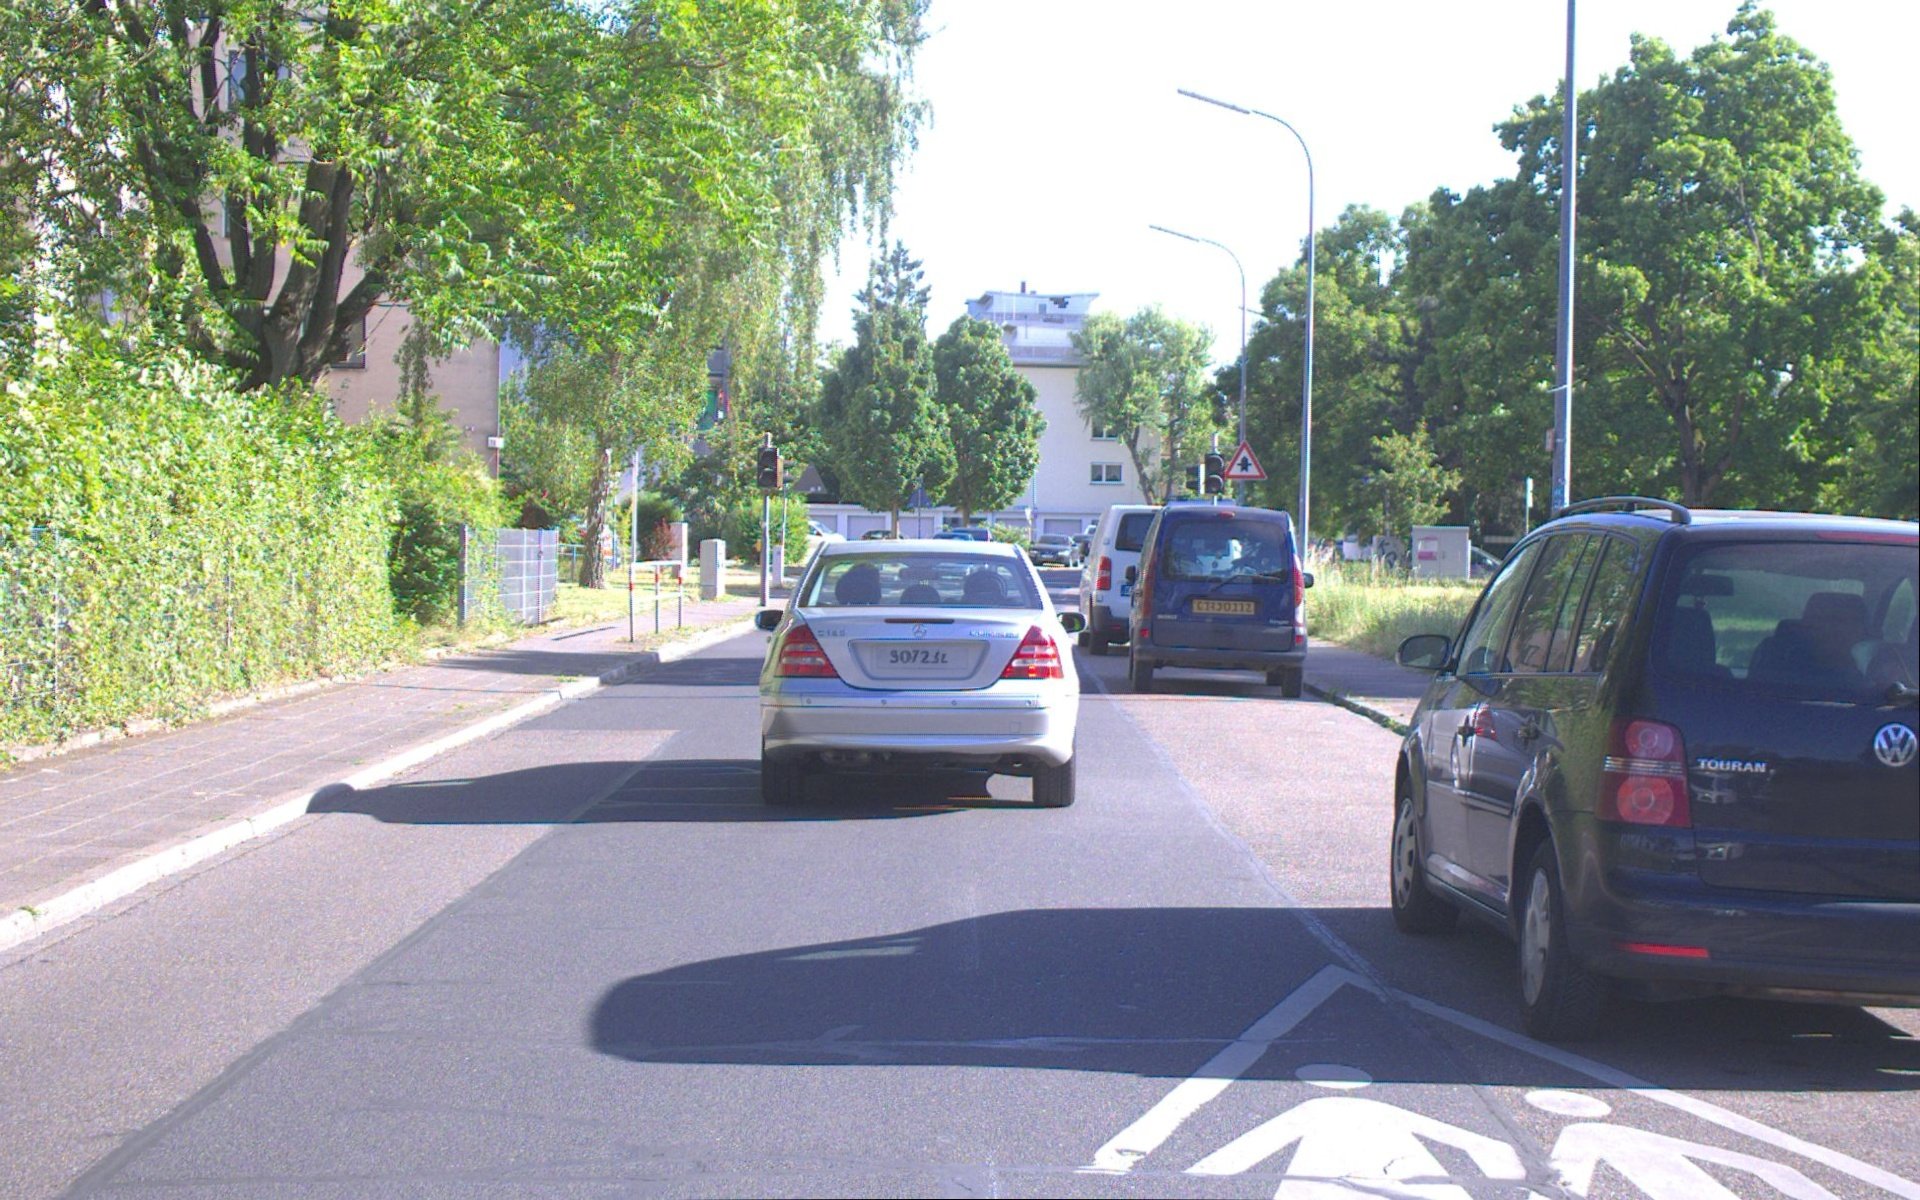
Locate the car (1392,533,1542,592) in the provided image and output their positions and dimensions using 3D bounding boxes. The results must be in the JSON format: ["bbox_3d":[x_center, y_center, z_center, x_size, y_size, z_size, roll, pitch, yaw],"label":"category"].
[{"bbox_3d":[13.329,-0.974,90.302,3.705,1.436,1.698,1,-1,15],"label":"car"}]

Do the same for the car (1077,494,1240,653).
[{"bbox_3d":[2.474,-0.371,43.629,1.698,1.845,3.851,3,1,-1],"label":"car"}]

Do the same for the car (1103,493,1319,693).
[{"bbox_3d":[2.400,-0.114,33.707,1.698,1.753,3.851,3,1,-1],"label":"car"}]

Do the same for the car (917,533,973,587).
[{"bbox_3d":[-0.537,-1.378,118.765,1.884,1.722,4.000,1,-1,-1],"label":"car"}]

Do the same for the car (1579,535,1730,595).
[{"bbox_3d":[18.030,-0.903,89.243,3.705,1.466,1.698,1,-1,15],"label":"car"}]

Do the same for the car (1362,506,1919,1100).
[{"bbox_3d":[2.533,0.532,11.566,1.698,1.605,4.001,3,1,-2],"label":"car"}]

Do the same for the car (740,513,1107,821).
[{"bbox_3d":[-0.213,0.286,19.549,1.816,1.458,4.361,2,2,-1],"label":"car"}]
